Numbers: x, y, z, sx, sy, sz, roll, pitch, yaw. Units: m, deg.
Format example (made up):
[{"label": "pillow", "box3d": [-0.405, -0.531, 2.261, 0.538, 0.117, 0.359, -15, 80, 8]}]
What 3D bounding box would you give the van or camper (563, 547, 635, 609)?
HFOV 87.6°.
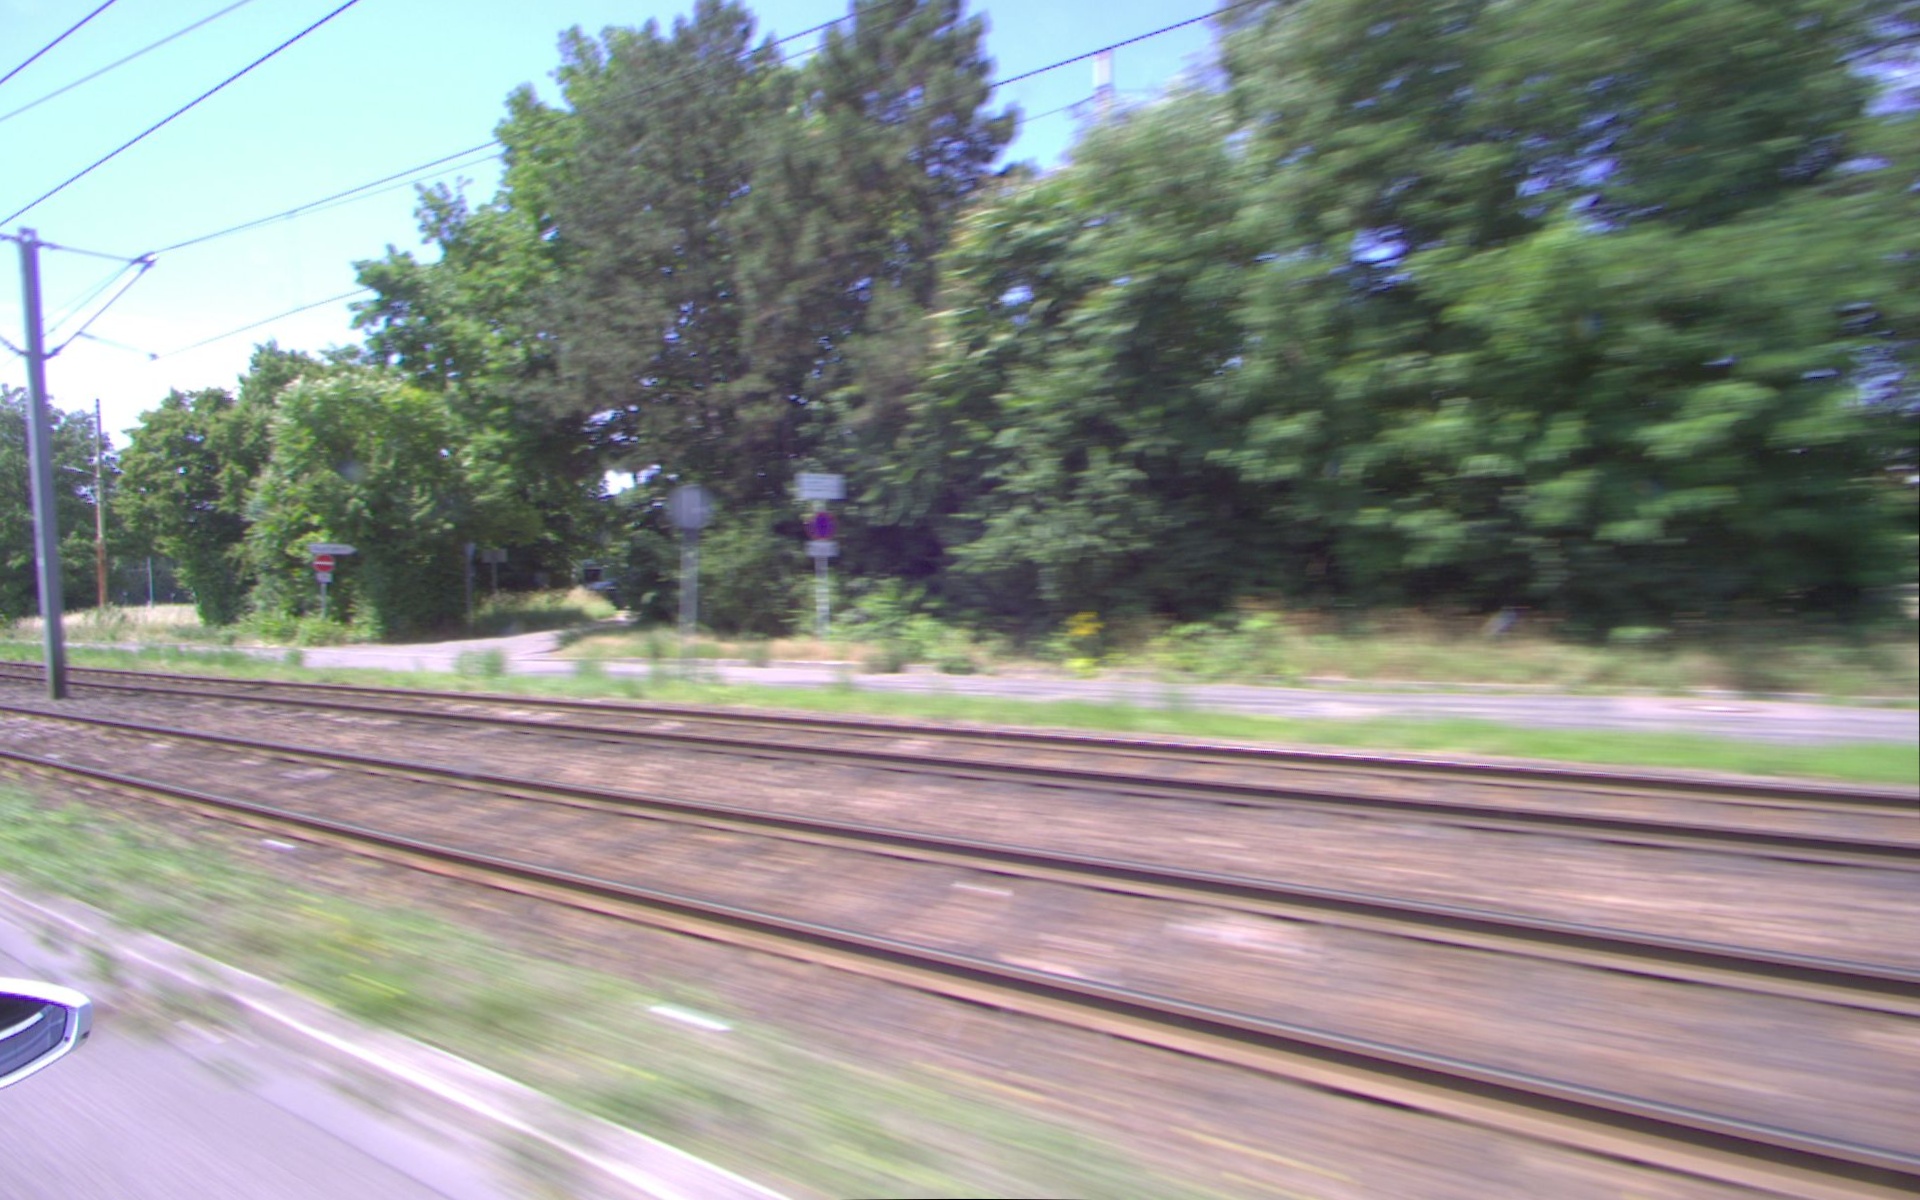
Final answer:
[{"label": "van or camper", "box3d": [-18.745, -1.073, 51.920, 2.307, 2.670, 4.407, 6, -6, -34]}]
